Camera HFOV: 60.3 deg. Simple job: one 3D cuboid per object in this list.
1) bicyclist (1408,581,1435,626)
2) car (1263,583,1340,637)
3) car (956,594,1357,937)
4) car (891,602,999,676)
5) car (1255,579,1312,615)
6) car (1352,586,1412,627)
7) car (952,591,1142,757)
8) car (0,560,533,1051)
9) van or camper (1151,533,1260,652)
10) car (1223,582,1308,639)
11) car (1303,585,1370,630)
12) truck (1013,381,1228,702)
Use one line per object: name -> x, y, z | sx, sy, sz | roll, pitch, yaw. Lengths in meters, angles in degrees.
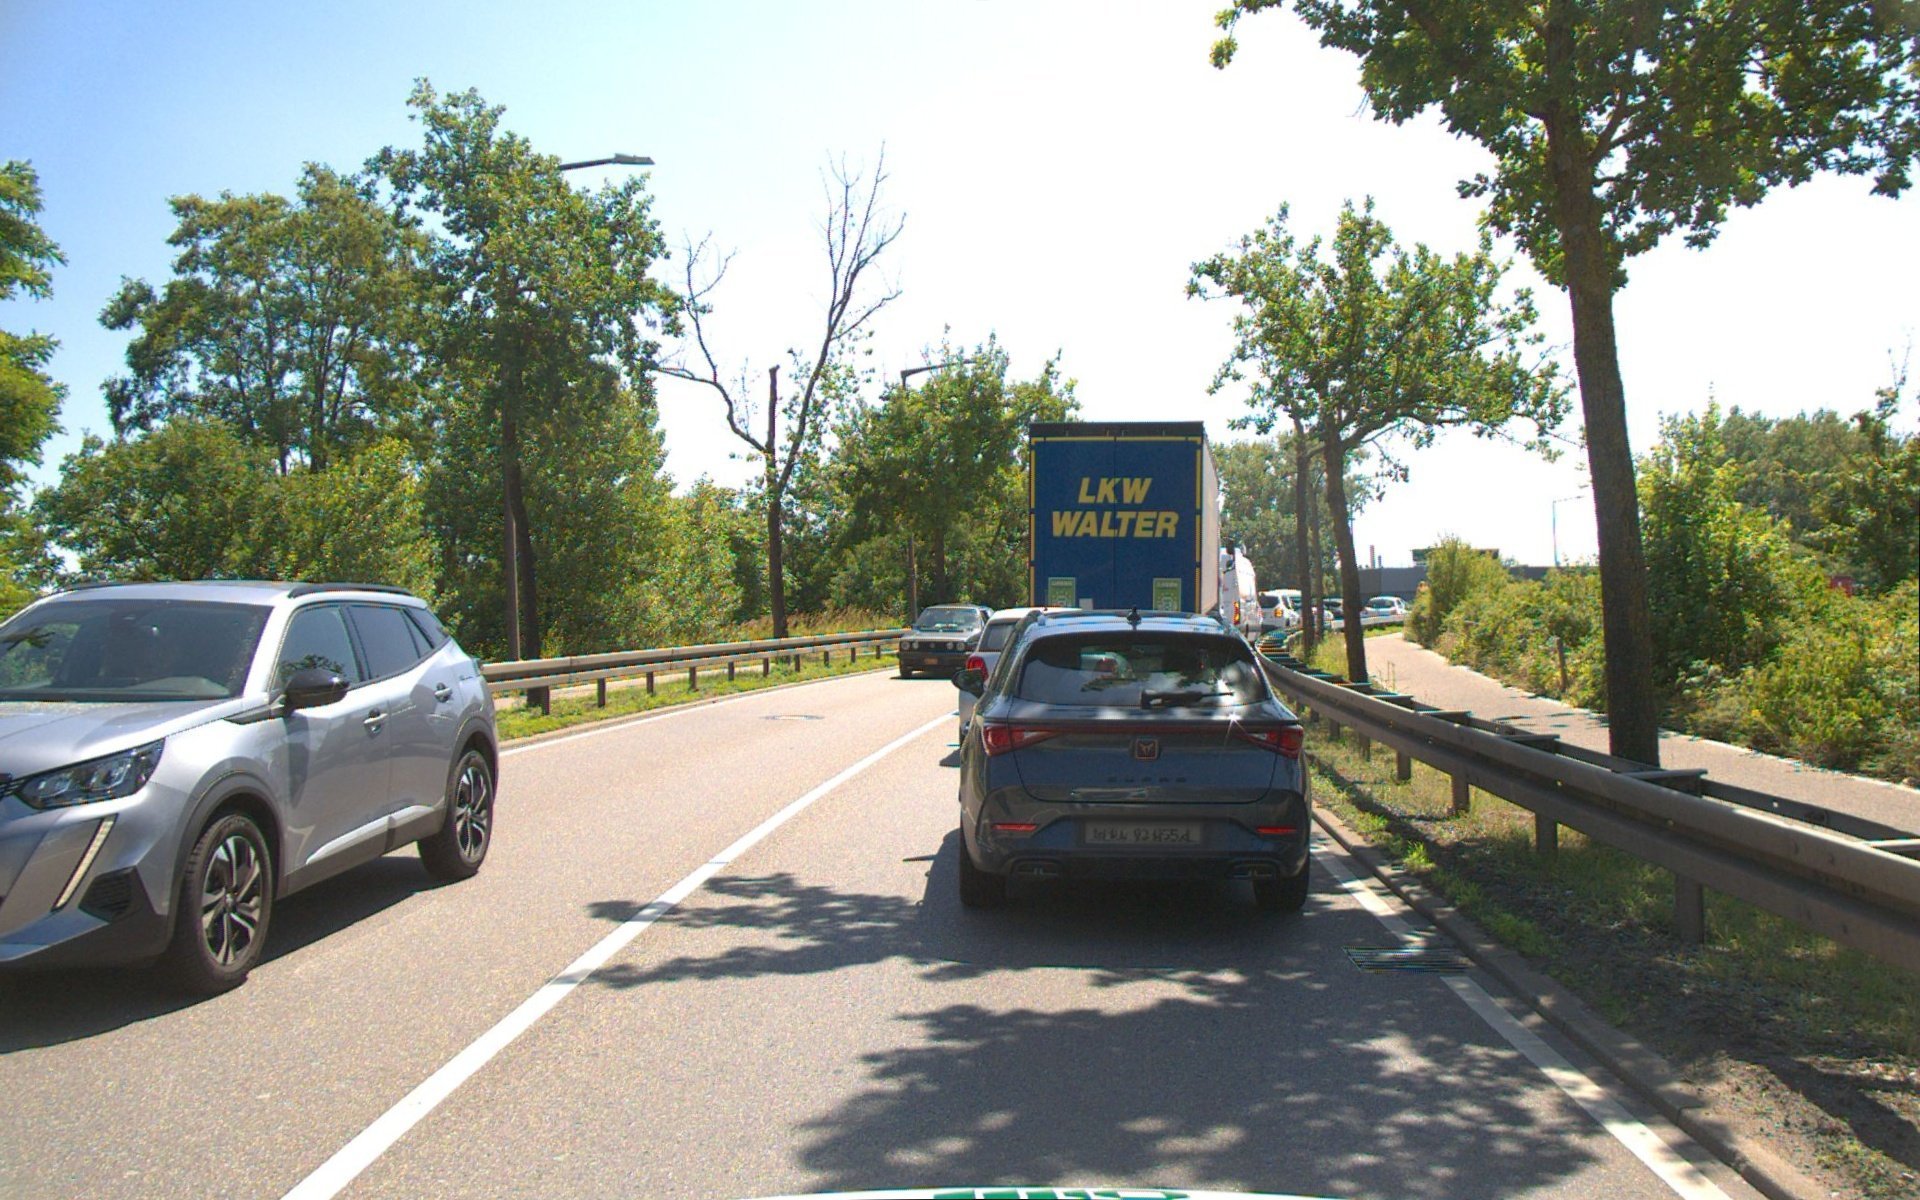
bicyclist -> 16.233, 0.130, 58.176 | 0.842, 1.550, 0.980 | 0, 0, 20
car -> 12.315, 0.359, 59.486 | 1.952, 1.840, 4.846 | 0, 0, 21
car -> 0.849, 0.713, 9.027 | 1.708, 1.457, 3.880 | 0, 0, 0
car -> -0.240, 0.740, 33.345 | 1.523, 1.396, 3.892 | 0, 0, 9
car -> 14.636, -0.120, 74.602 | 1.714, 1.583, 4.125 | 0, 0, 23
car -> 19.204, 0.306, 75.104 | 1.953, 1.799, 4.753 | 0, 0, 23
car -> 0.861, 0.698, 17.478 | 1.772, 1.534, 4.001 | 0, 0, 1
car -> -3.424, 0.663, 7.450 | 1.713, 1.583, 4.128 | 0, 0, 3
van or camper -> 6.825, -0.189, 45.326 | 2.414, 3.051, 6.091 | 0, 0, 13
car -> 9.907, 0.326, 53.323 | 1.952, 1.742, 4.621 | 0, 0, 20
car -> 15.193, 0.306, 66.564 | 1.952, 1.747, 4.869 | 0, 0, 21
truck -> 3.619, -0.811, 31.824 | 2.887, 4.526, 16.812 | 0, 0, 10
